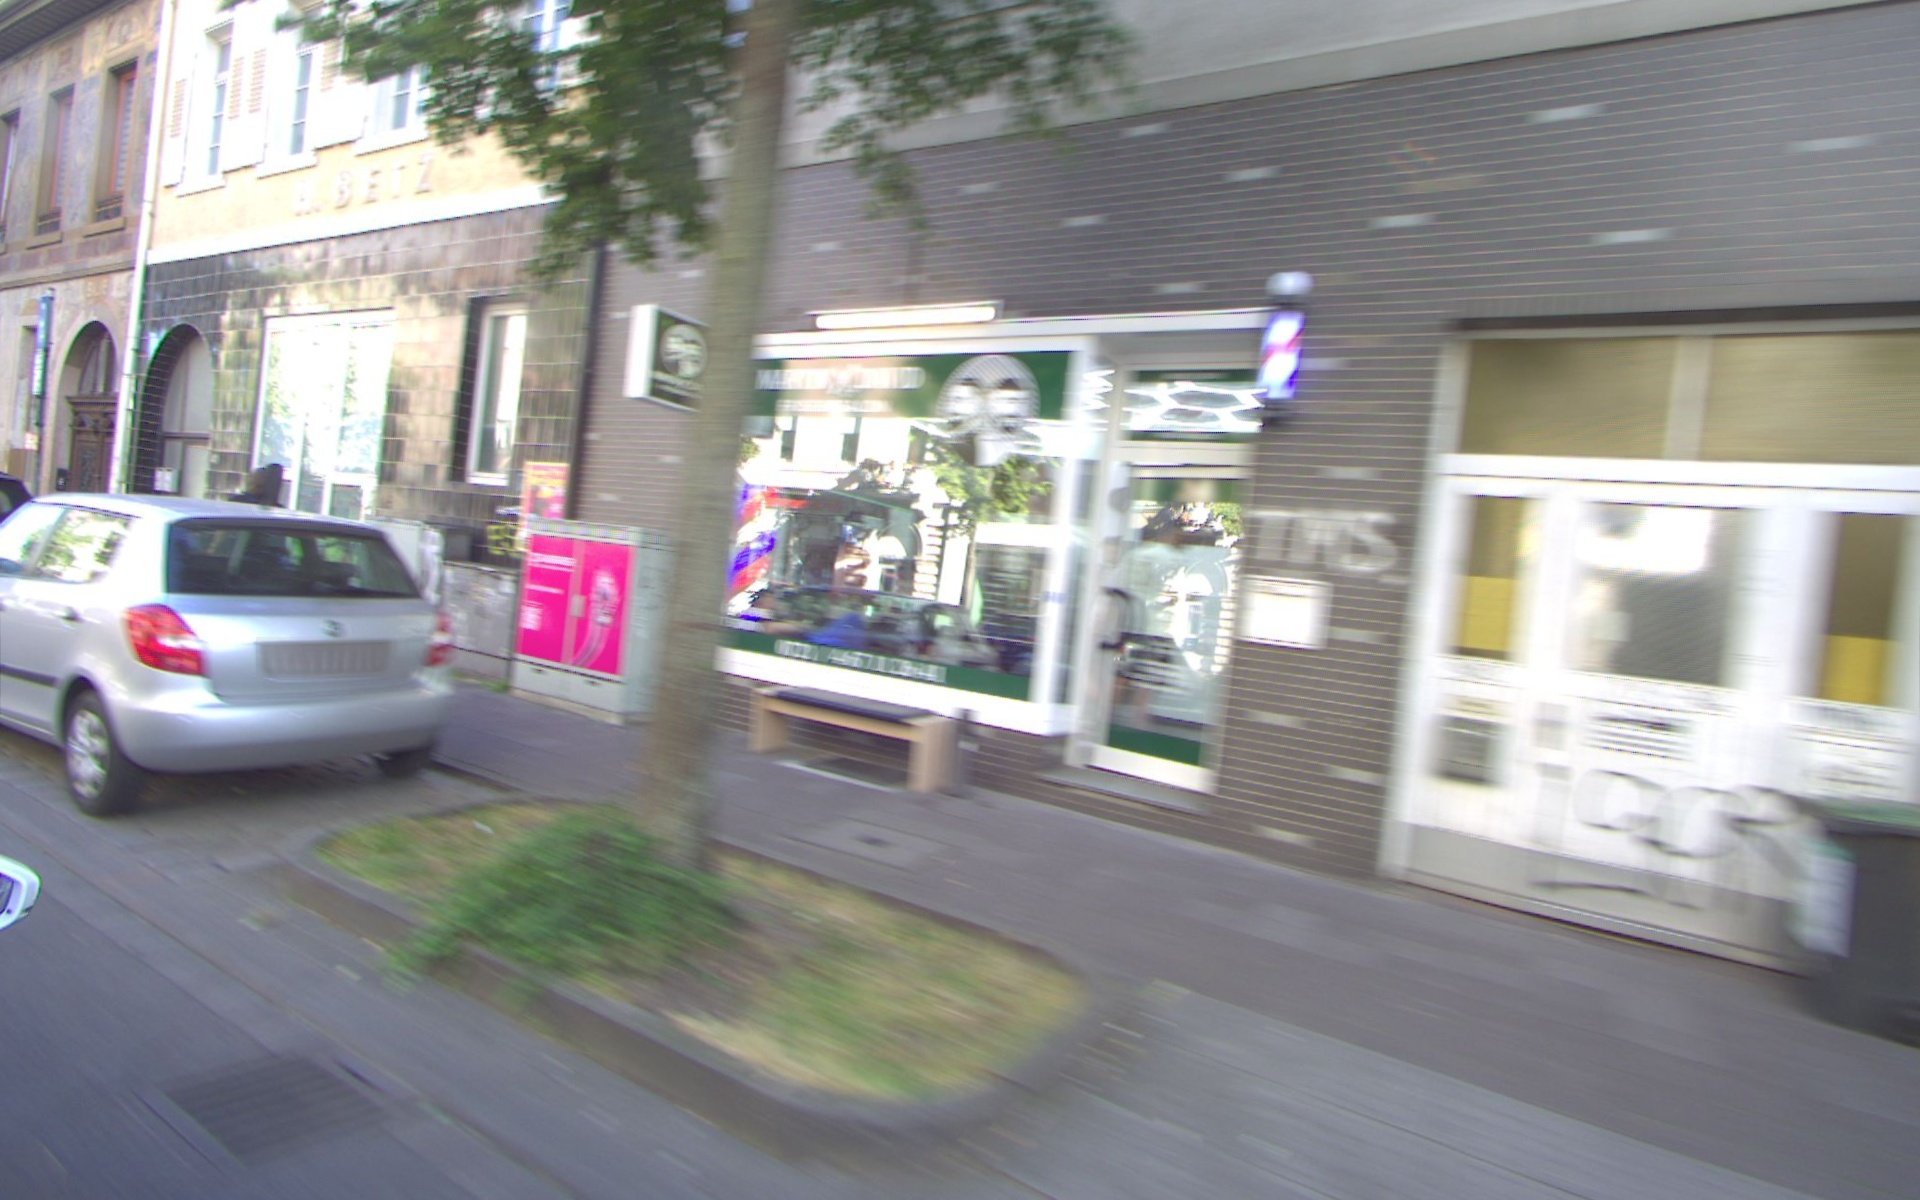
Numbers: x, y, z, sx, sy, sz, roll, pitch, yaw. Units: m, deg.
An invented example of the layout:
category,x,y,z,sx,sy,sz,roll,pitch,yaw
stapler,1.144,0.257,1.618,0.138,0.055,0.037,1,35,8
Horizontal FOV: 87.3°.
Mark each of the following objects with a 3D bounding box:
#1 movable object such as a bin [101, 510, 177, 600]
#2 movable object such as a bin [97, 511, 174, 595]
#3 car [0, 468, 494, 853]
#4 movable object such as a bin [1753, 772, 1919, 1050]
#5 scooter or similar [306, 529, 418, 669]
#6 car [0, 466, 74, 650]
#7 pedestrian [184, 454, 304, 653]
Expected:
category,x,y,z,sx,sy,sz,roll,pitch,yaw
movable object such as a bin,-10.445,-0.567,12.802,0.710,1.054,0.522,7,3,32
movable object such as a bin,-11.255,-0.636,13.734,0.710,1.054,0.588,7,3,32
car,-4.831,0.091,5.989,4.163,1.550,1.613,7,4,31
movable object such as a bin,3.847,1.289,4.234,0.644,0.969,0.523,7,2,33
scooter or similar,-5.735,-0.020,9.632,1.149,1.203,0.399,7,3,33
car,-9.544,-0.517,8.944,3.009,1.549,1.614,7,2,31
pedestrian,-6.825,-0.436,9.587,0.758,1.789,0.622,7,4,32
